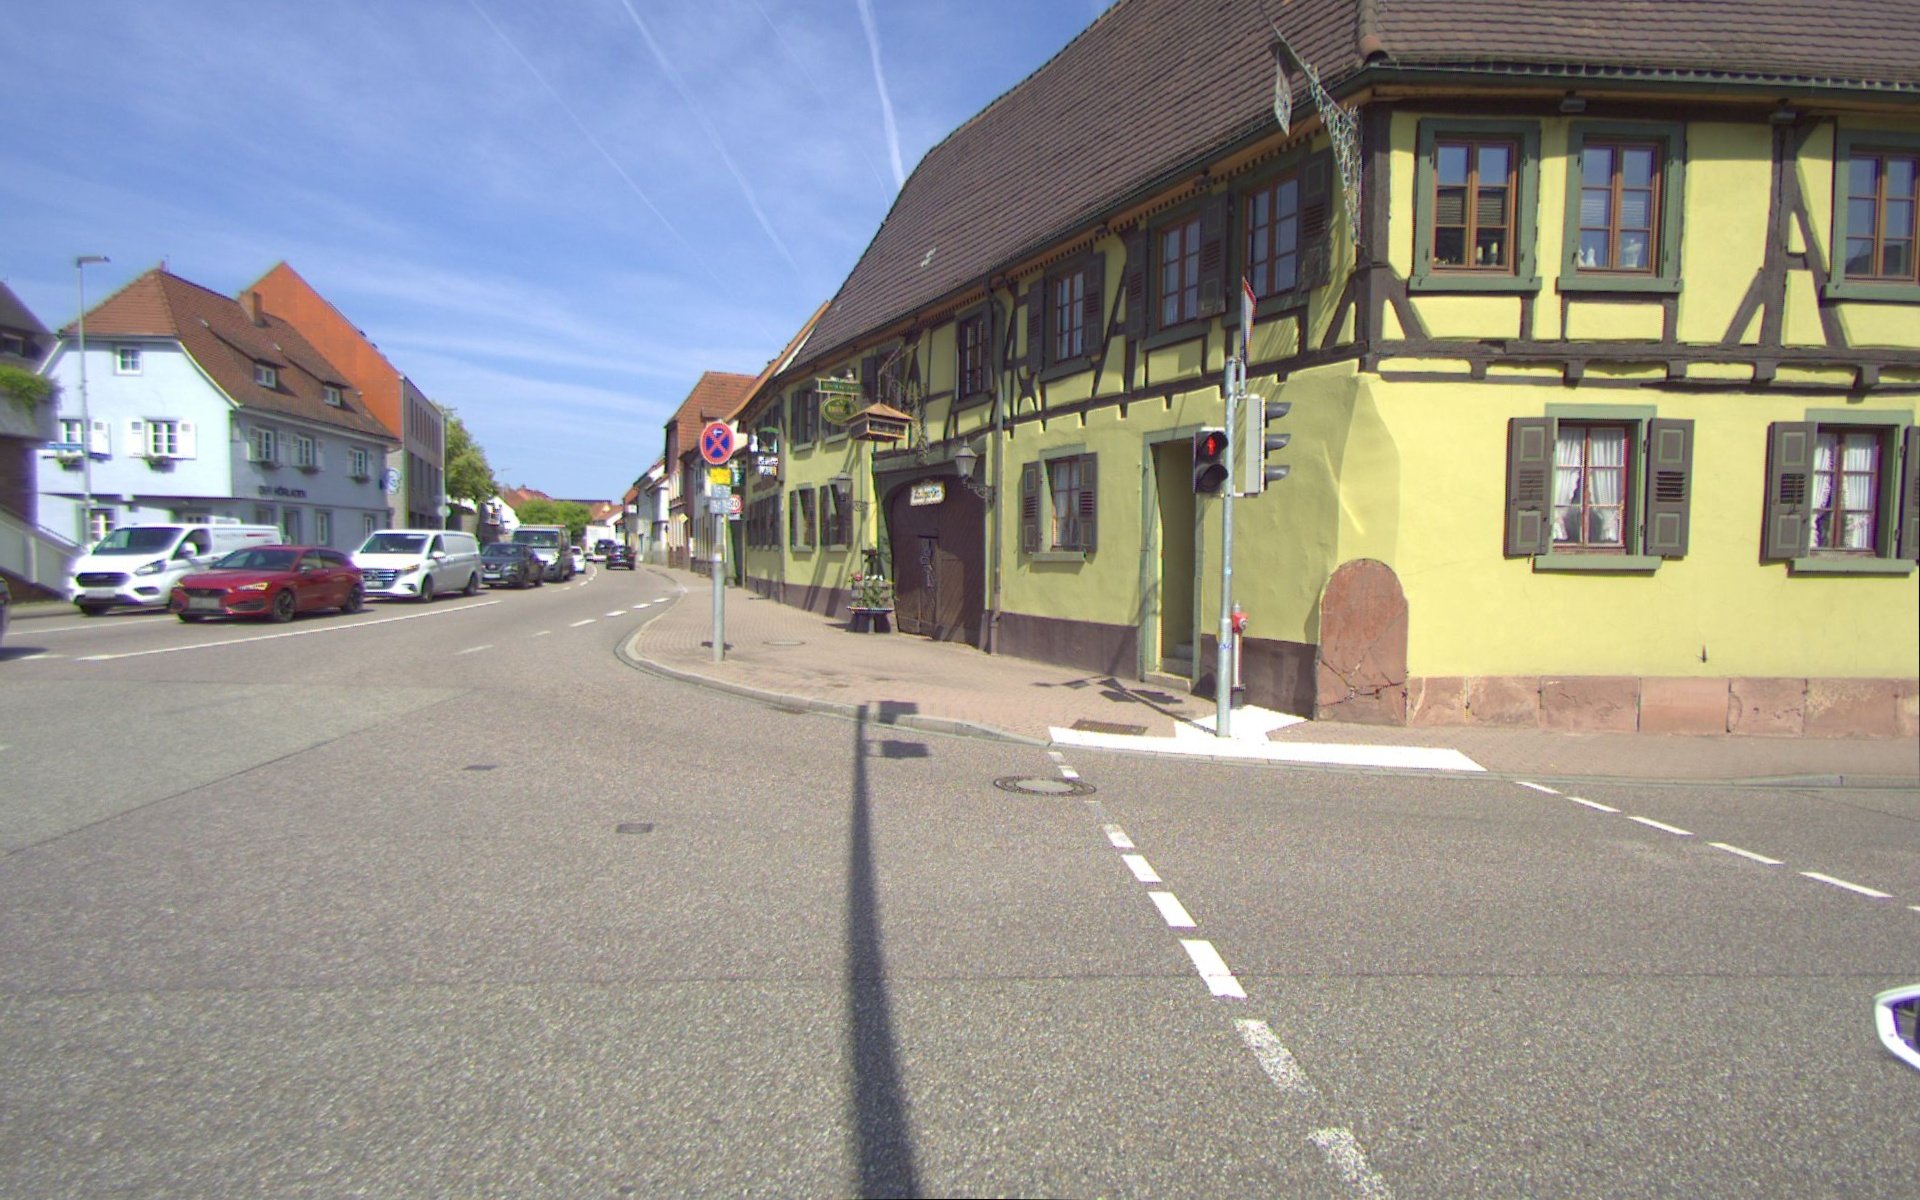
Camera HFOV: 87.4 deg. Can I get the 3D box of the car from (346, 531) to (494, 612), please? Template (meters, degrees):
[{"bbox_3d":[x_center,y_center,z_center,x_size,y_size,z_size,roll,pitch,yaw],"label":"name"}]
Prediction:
[{"bbox_3d":[-14.348,-0.805,27.058,1.792,1.932,4.957,1,2,-7],"label":"car"}]

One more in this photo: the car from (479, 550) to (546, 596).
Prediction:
[{"bbox_3d":[-15.123,-0.940,34.100,1.554,1.402,3.546,3,2,-16],"label":"car"}]

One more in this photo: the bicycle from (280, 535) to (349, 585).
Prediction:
[{"bbox_3d":[-22.441,-1.396,34.980,0.548,1.629,2.563,3,3,5],"label":"bicycle"}]

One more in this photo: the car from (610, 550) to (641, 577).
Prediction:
[{"bbox_3d":[-22.679,-2.489,68.102,1.799,1.762,3.984,0,2,-21],"label":"car"}]

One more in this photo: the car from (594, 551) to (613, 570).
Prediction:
[{"bbox_3d":[-33.005,-3.680,92.926,1.443,1.599,3.456,3,2,-17],"label":"car"}]

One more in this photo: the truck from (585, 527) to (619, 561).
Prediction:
[{"bbox_3d":[-41.653,-6.434,116.775,3.187,3.597,9.179,3,2,-22],"label":"truck"}]

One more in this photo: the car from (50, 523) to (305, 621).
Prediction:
[{"bbox_3d":[-17.841,-0.661,23.354,2.103,1.993,5.272,0,2,-5],"label":"car"}]

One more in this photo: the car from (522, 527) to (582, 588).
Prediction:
[{"bbox_3d":[-16.573,-1.721,40.980,1.735,2.276,4.536,3,2,-16],"label":"car"}]

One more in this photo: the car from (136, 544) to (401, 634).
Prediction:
[{"bbox_3d":[-13.649,-0.295,20.309,2.124,1.536,4.944,2,2,-3],"label":"car"}]

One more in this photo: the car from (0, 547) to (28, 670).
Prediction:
[{"bbox_3d":[-11.687,0.153,10.144,1.799,1.454,4.228,1,2,-20],"label":"car"}]

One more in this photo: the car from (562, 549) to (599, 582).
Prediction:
[{"bbox_3d":[-20.399,-1.857,54.079,1.488,1.648,3.406,3,2,-16],"label":"car"}]
